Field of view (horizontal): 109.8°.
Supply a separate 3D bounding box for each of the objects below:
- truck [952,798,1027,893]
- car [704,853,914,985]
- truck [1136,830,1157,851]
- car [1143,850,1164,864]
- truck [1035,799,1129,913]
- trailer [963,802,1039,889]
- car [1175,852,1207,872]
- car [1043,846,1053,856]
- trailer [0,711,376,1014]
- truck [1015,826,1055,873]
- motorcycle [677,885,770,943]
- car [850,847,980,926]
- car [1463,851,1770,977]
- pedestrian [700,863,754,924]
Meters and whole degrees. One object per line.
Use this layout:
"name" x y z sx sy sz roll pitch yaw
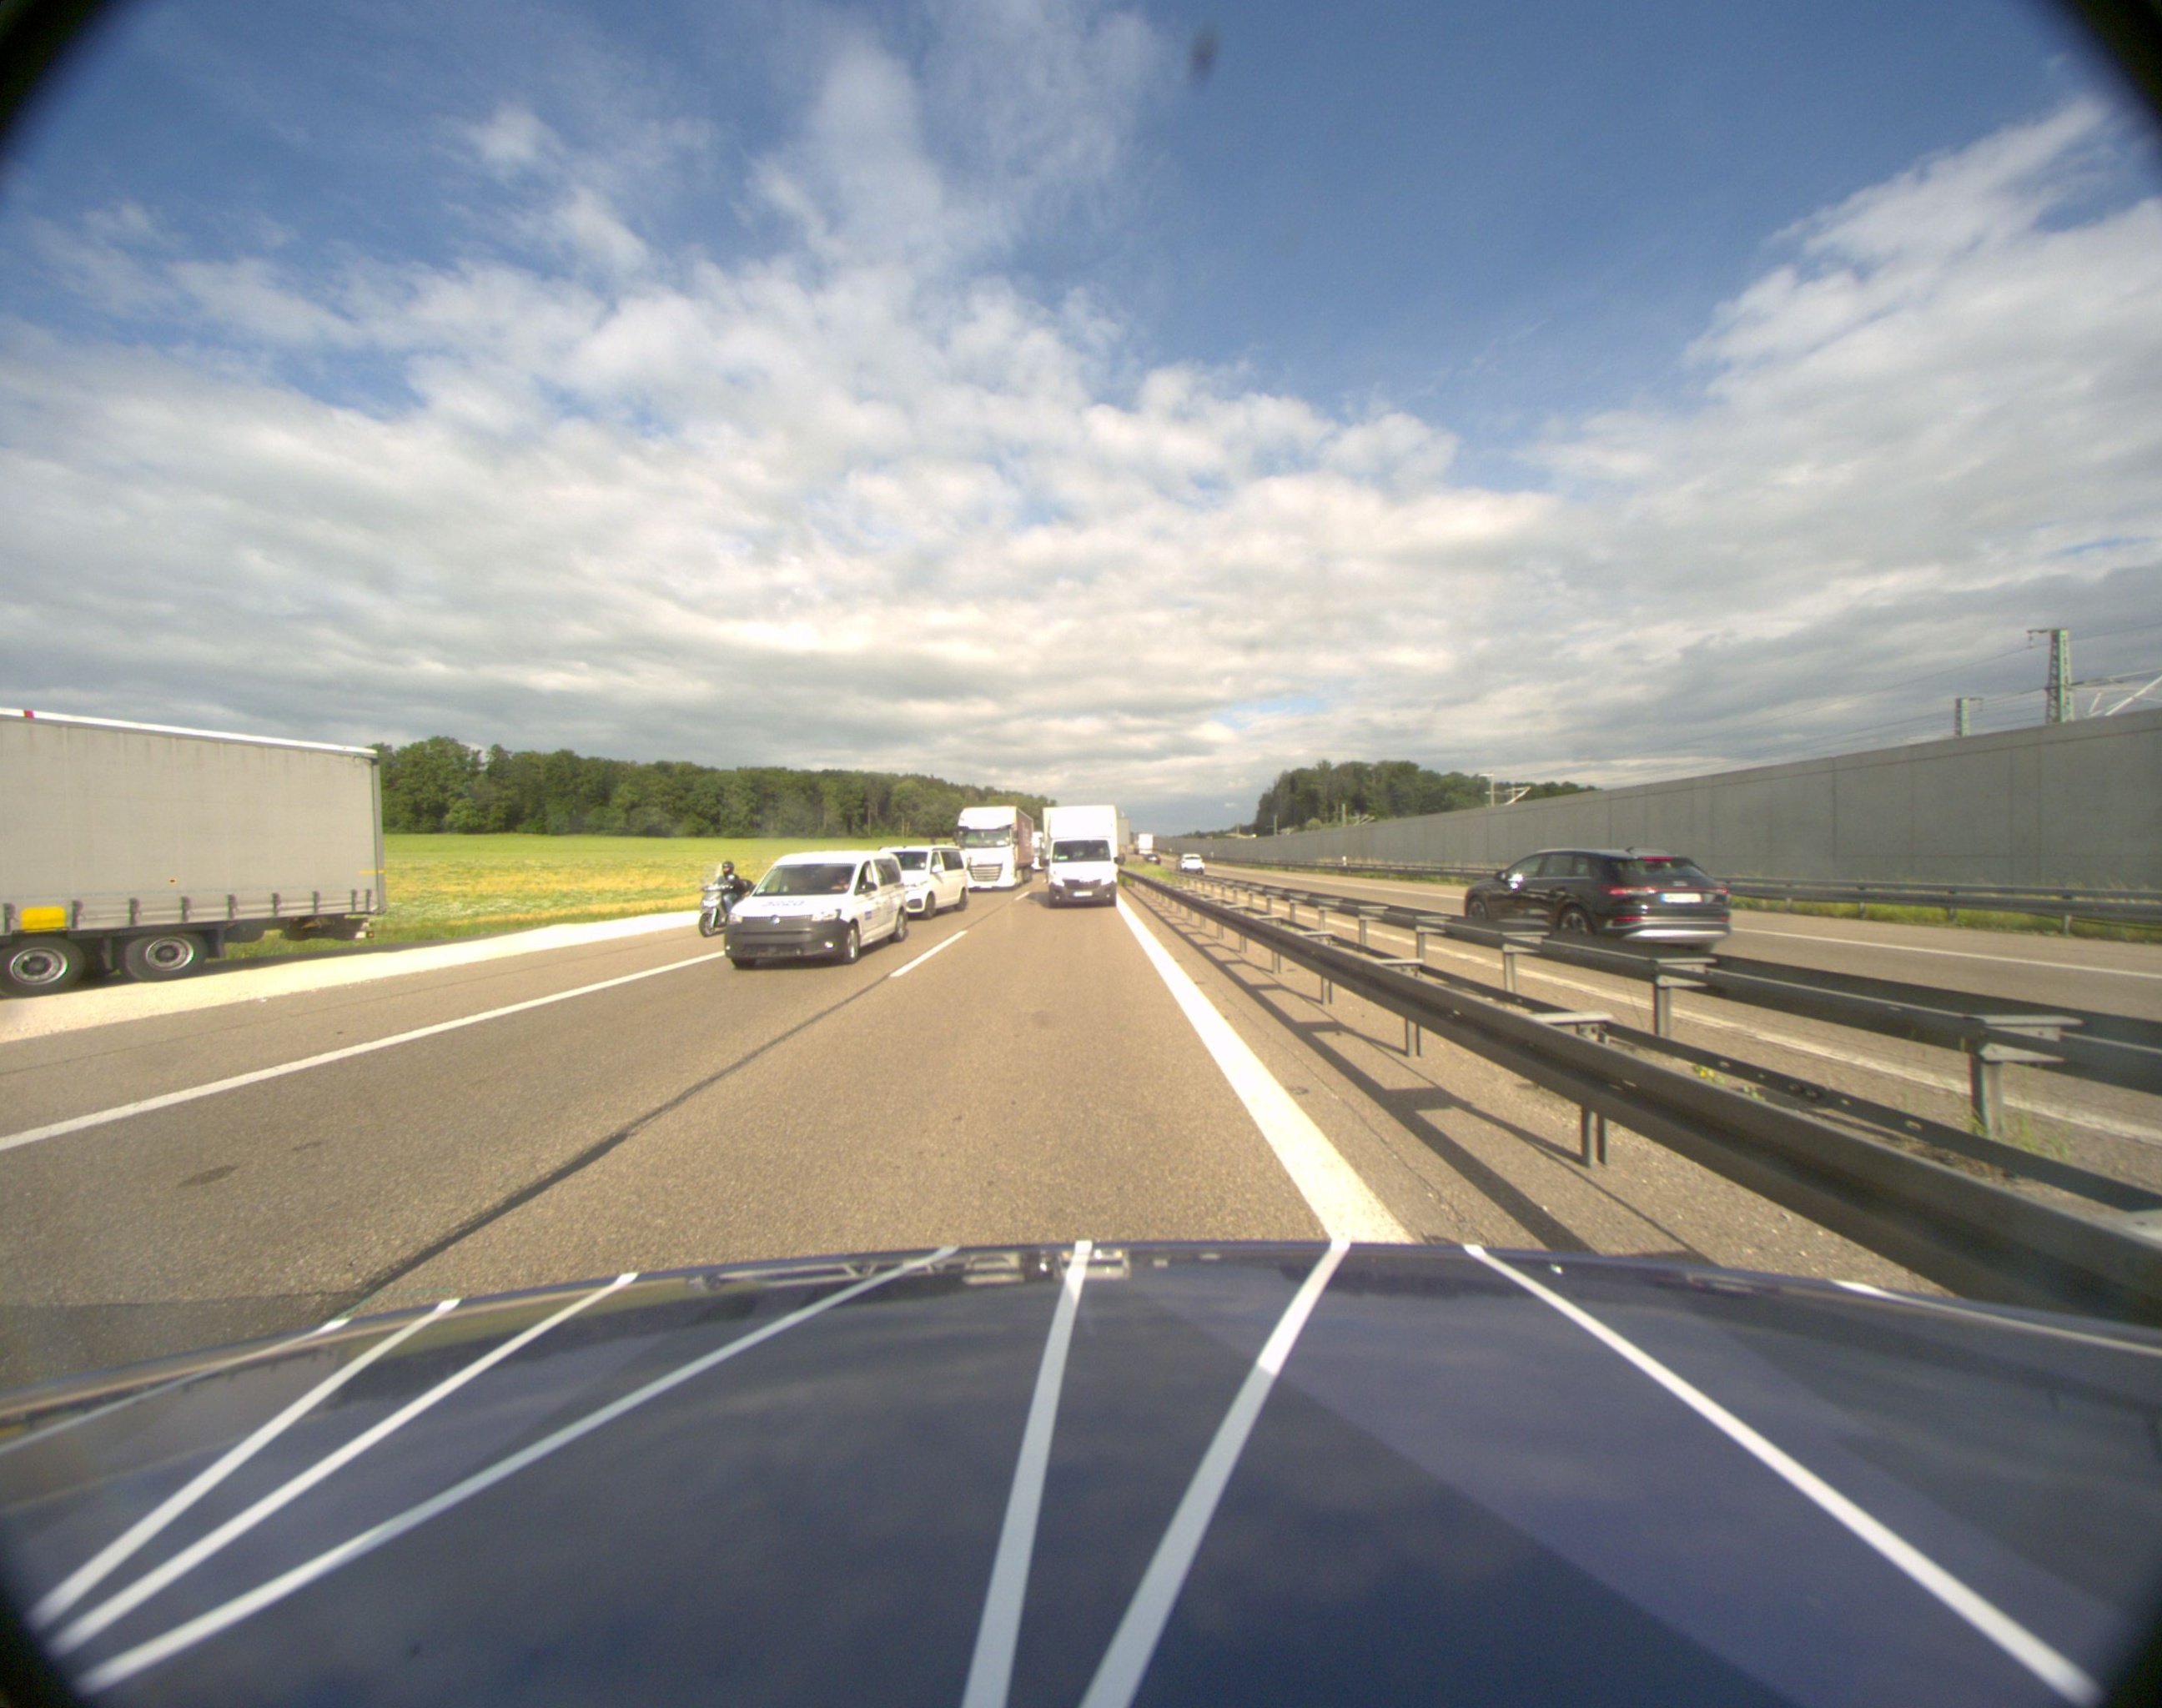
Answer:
"truck" -4.281 -0.410 36.771 2.736 4.150 5.766 -2 1 0
"car" -4.269 0.901 12.835 1.729 1.746 4.702 -2 0 1
"truck" 13.159 -2.658 153.029 2.952 4.037 11.745 -2 1 0
"car" 8.314 0.335 87.264 1.808 1.454 4.449 -1 0 -1
"truck" 0.039 0.056 27.069 2.500 3.082 12.038 -2 0 0
"trailer" -4.262 -0.497 43.816 2.742 4.136 14.016 -2 1 0
"car" 8.407 0.614 58.338 1.721 1.454 4.449 -1 0 -1
"car" -6.336 -0.545 147.111 1.708 1.746 4.676 -2 0 1
"trailer" -16.754 0.173 8.283 2.739 4.136 13.843 -2 0 15
"truck" -4.258 -0.416 72.917 2.946 4.094 12.524 -1 0 0
"motorcycle" -8.140 1.331 17.429 0.757 1.143 2.246 -1 0 9
"car" -4.489 0.792 21.573 1.799 1.914 5.270 -2 0 8
"car" 7.975 0.769 11.952 1.720 1.586 4.449 -1 0 0
"pedestrian" -8.139 0.899 17.503 0.757 1.366 0.819 -1 0 9
